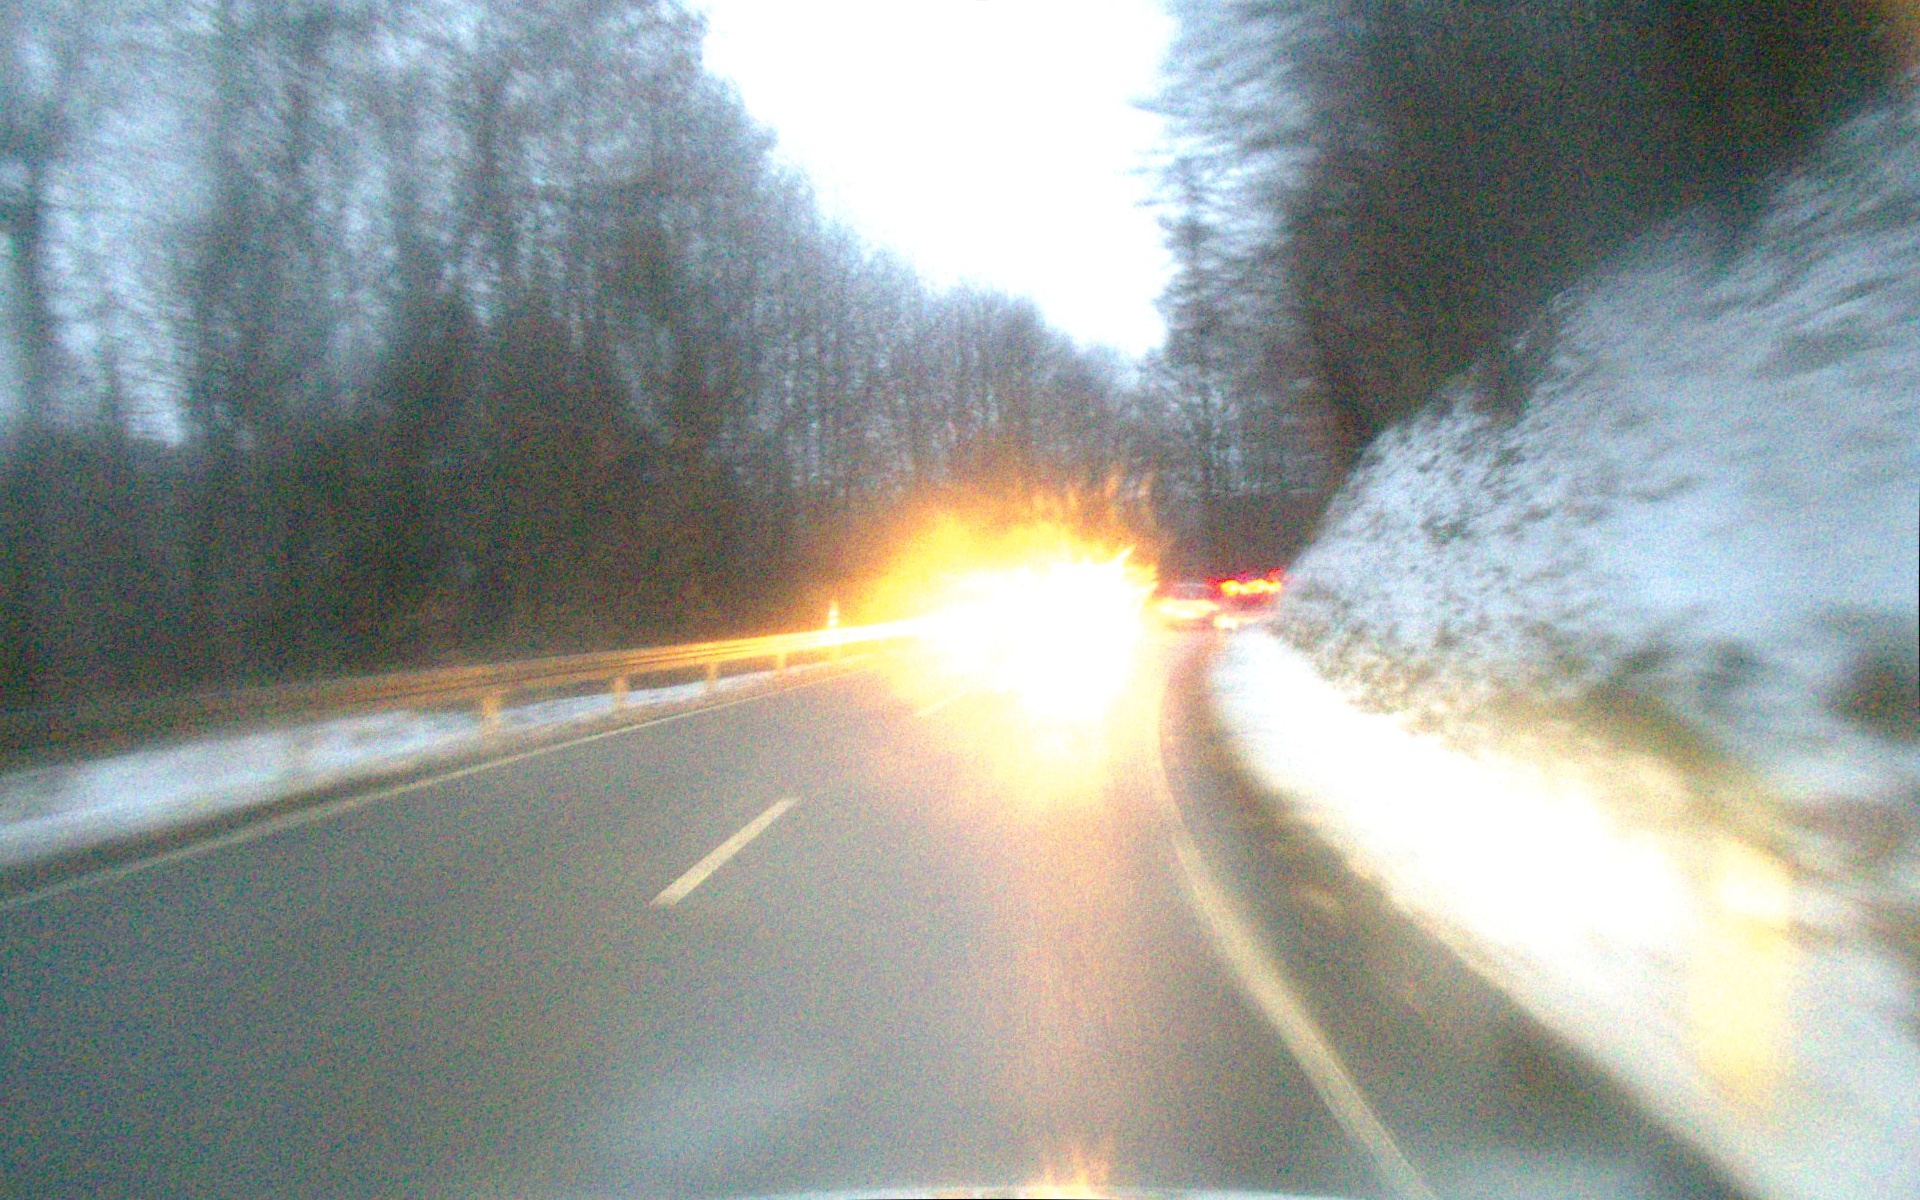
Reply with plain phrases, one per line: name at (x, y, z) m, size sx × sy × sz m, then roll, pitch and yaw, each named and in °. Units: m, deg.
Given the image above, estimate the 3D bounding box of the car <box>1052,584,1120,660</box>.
car at (4.065, 0.742, 52.742) m, size 2.015 × 2.189 × 4.002 m, roll 1°, pitch -4°, yaw 6°

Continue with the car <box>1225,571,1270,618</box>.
car at (13.625, -0.237, 78.192) m, size 1.828 × 1.952 × 4.002 m, roll 2°, pitch -2°, yaw 13°

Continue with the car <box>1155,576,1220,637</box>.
car at (7.465, 0.232, 53.984) m, size 1.951 × 1.905 × 4.003 m, roll 0°, pitch -1°, yaw 10°
